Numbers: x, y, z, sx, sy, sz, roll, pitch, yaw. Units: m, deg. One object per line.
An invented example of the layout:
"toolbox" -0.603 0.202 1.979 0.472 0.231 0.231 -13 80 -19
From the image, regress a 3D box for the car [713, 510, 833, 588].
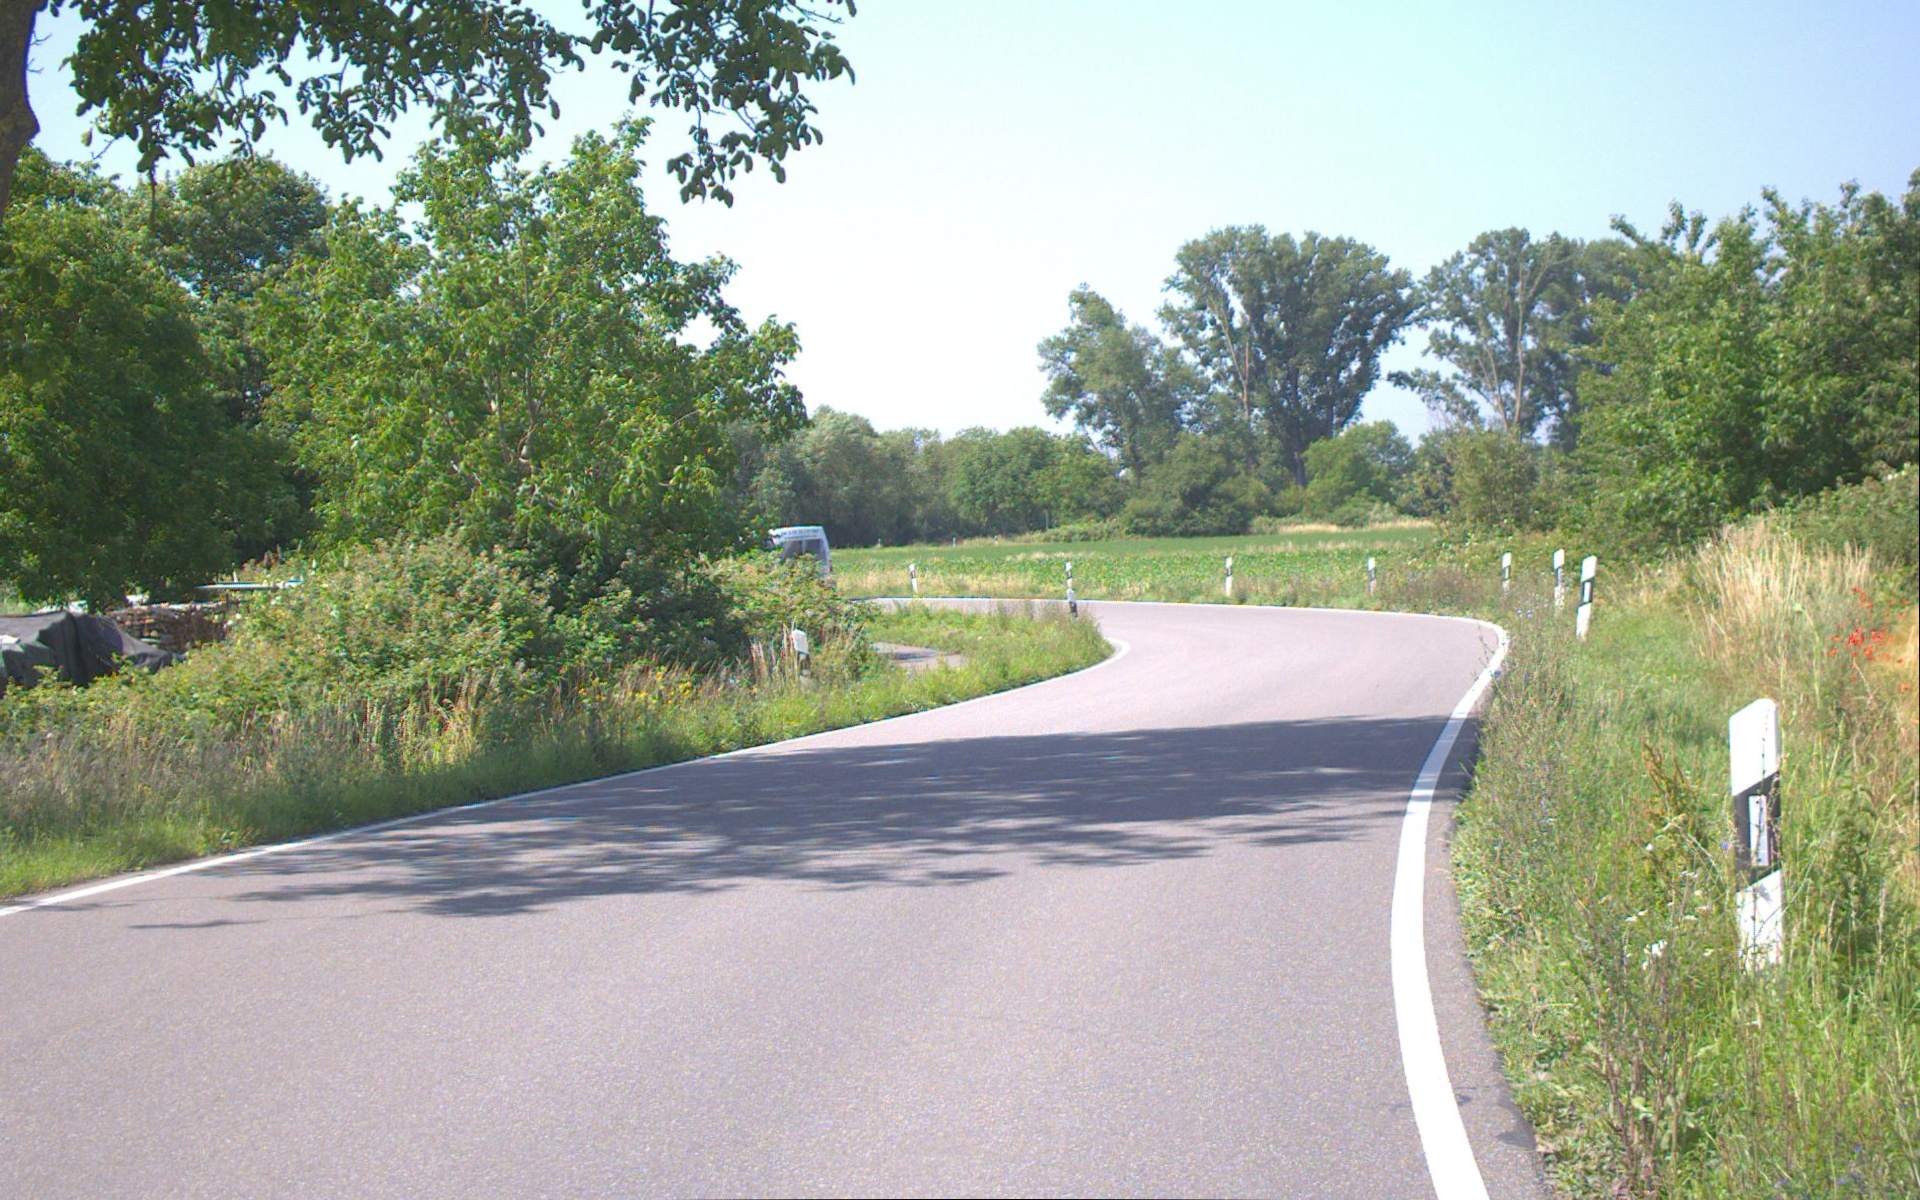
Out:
"car" -6.040 -1.663 110.420 2.103 2.358 5.688 -3 2 -21
